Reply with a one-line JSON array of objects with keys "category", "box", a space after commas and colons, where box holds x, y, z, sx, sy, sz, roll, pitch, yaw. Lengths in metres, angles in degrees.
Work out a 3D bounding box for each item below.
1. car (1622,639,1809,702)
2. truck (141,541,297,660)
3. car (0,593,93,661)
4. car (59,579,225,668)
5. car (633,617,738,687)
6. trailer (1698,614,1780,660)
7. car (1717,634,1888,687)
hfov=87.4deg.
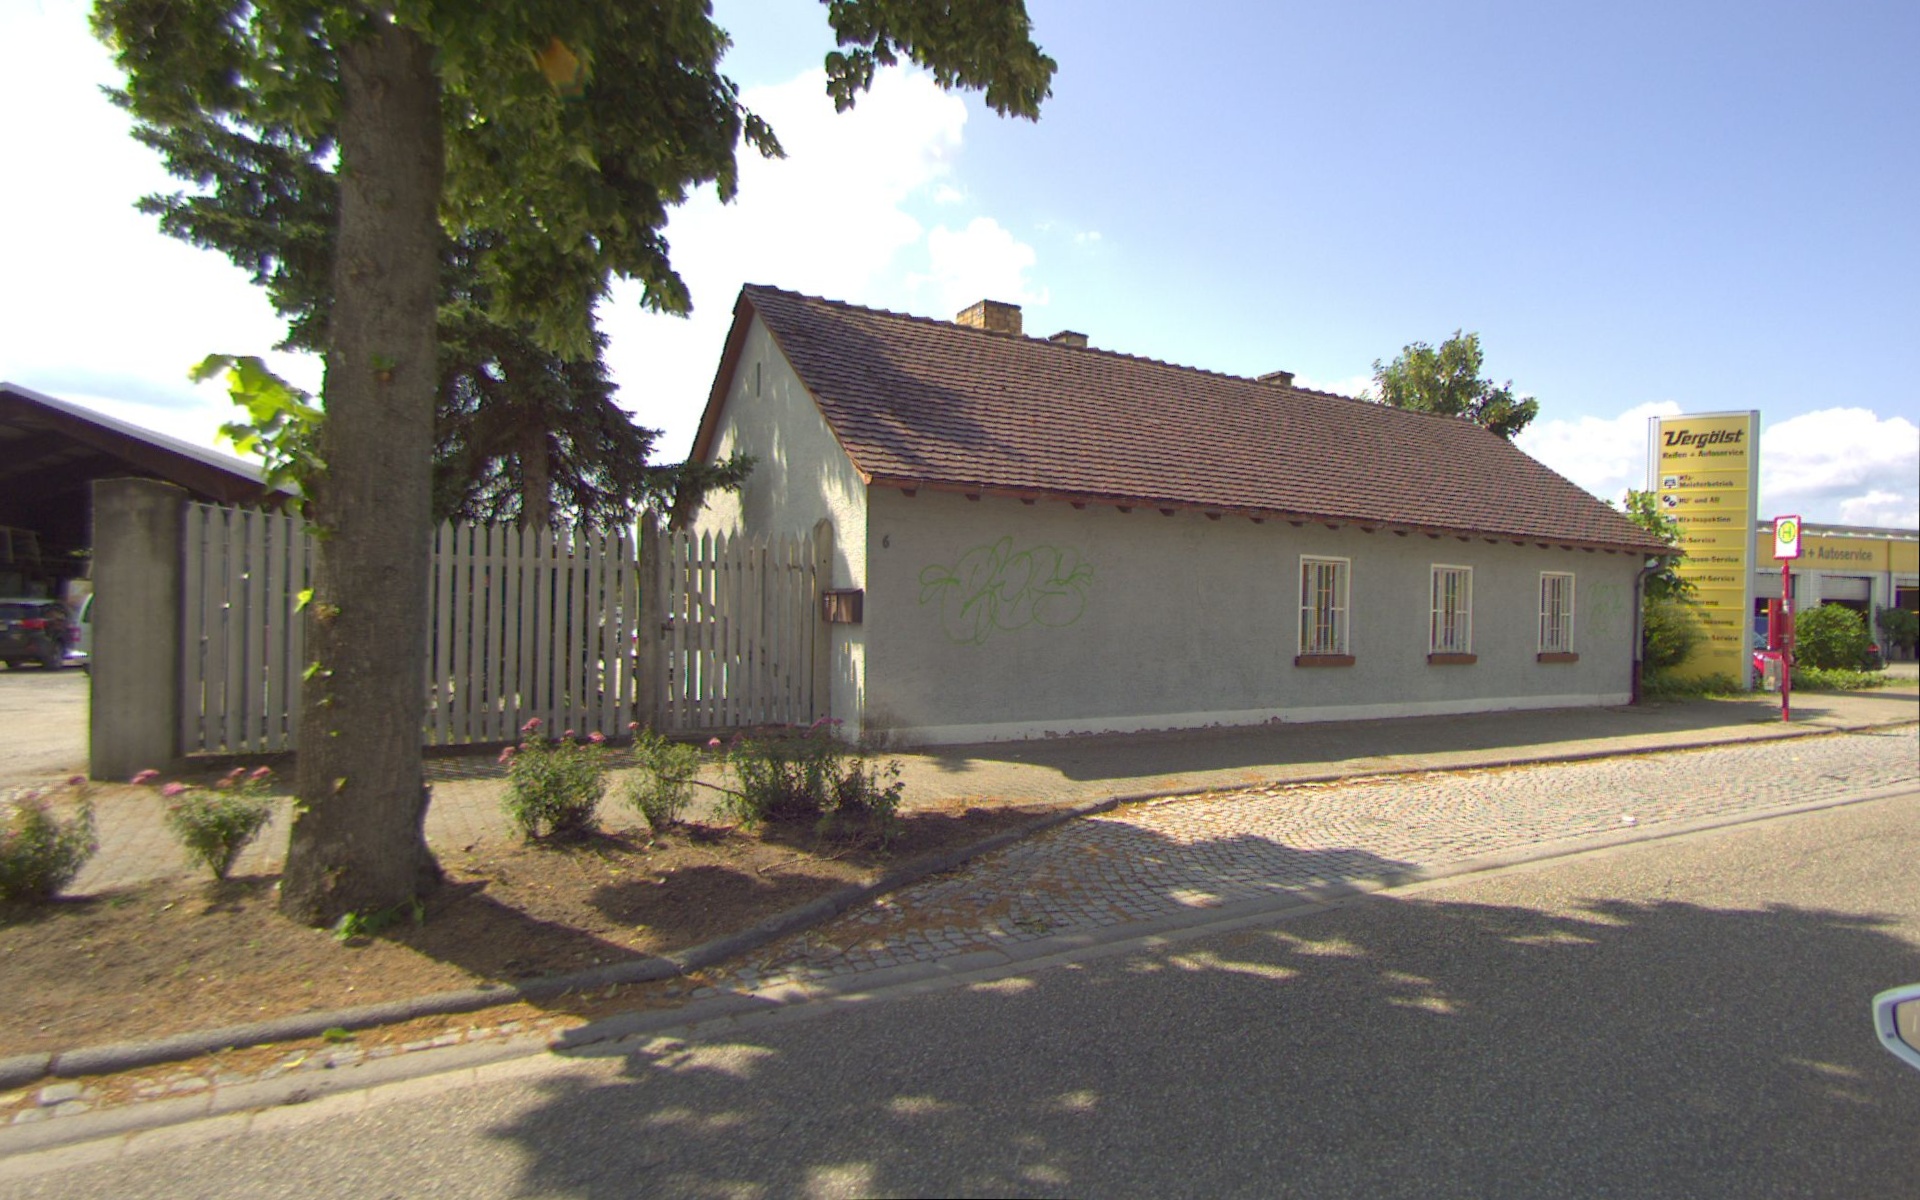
[{"category": "car", "box": [20.541, 1.875, 27.510, 1.703, 1.441, 3.834, 1, 0, -17]}, {"category": "truck", "box": [-20.935, 0.052, 28.649, 2.098, 3.106, 4.700, 1, -1, -18]}, {"category": "car", "box": [-21.755, 0.623, 23.313, 1.680, 1.475, 3.337, 1, -2, -27]}, {"category": "car", "box": [-18.472, 0.557, 22.876, 1.822, 1.799, 3.345, 3, -2, -20]}, {"category": "car", "box": [-6.212, 1.151, 23.145, 1.748, 1.434, 3.996, 1, -2, -7]}, {"category": "trailer", "box": [28.950, 1.369, 37.344, 2.169, 1.672, 1.370, 1, 0, -15]}, {"category": "car", "box": [24.534, 1.709, 29.363, 3.745, 1.396, 1.870, -1, -2, 41]}]
